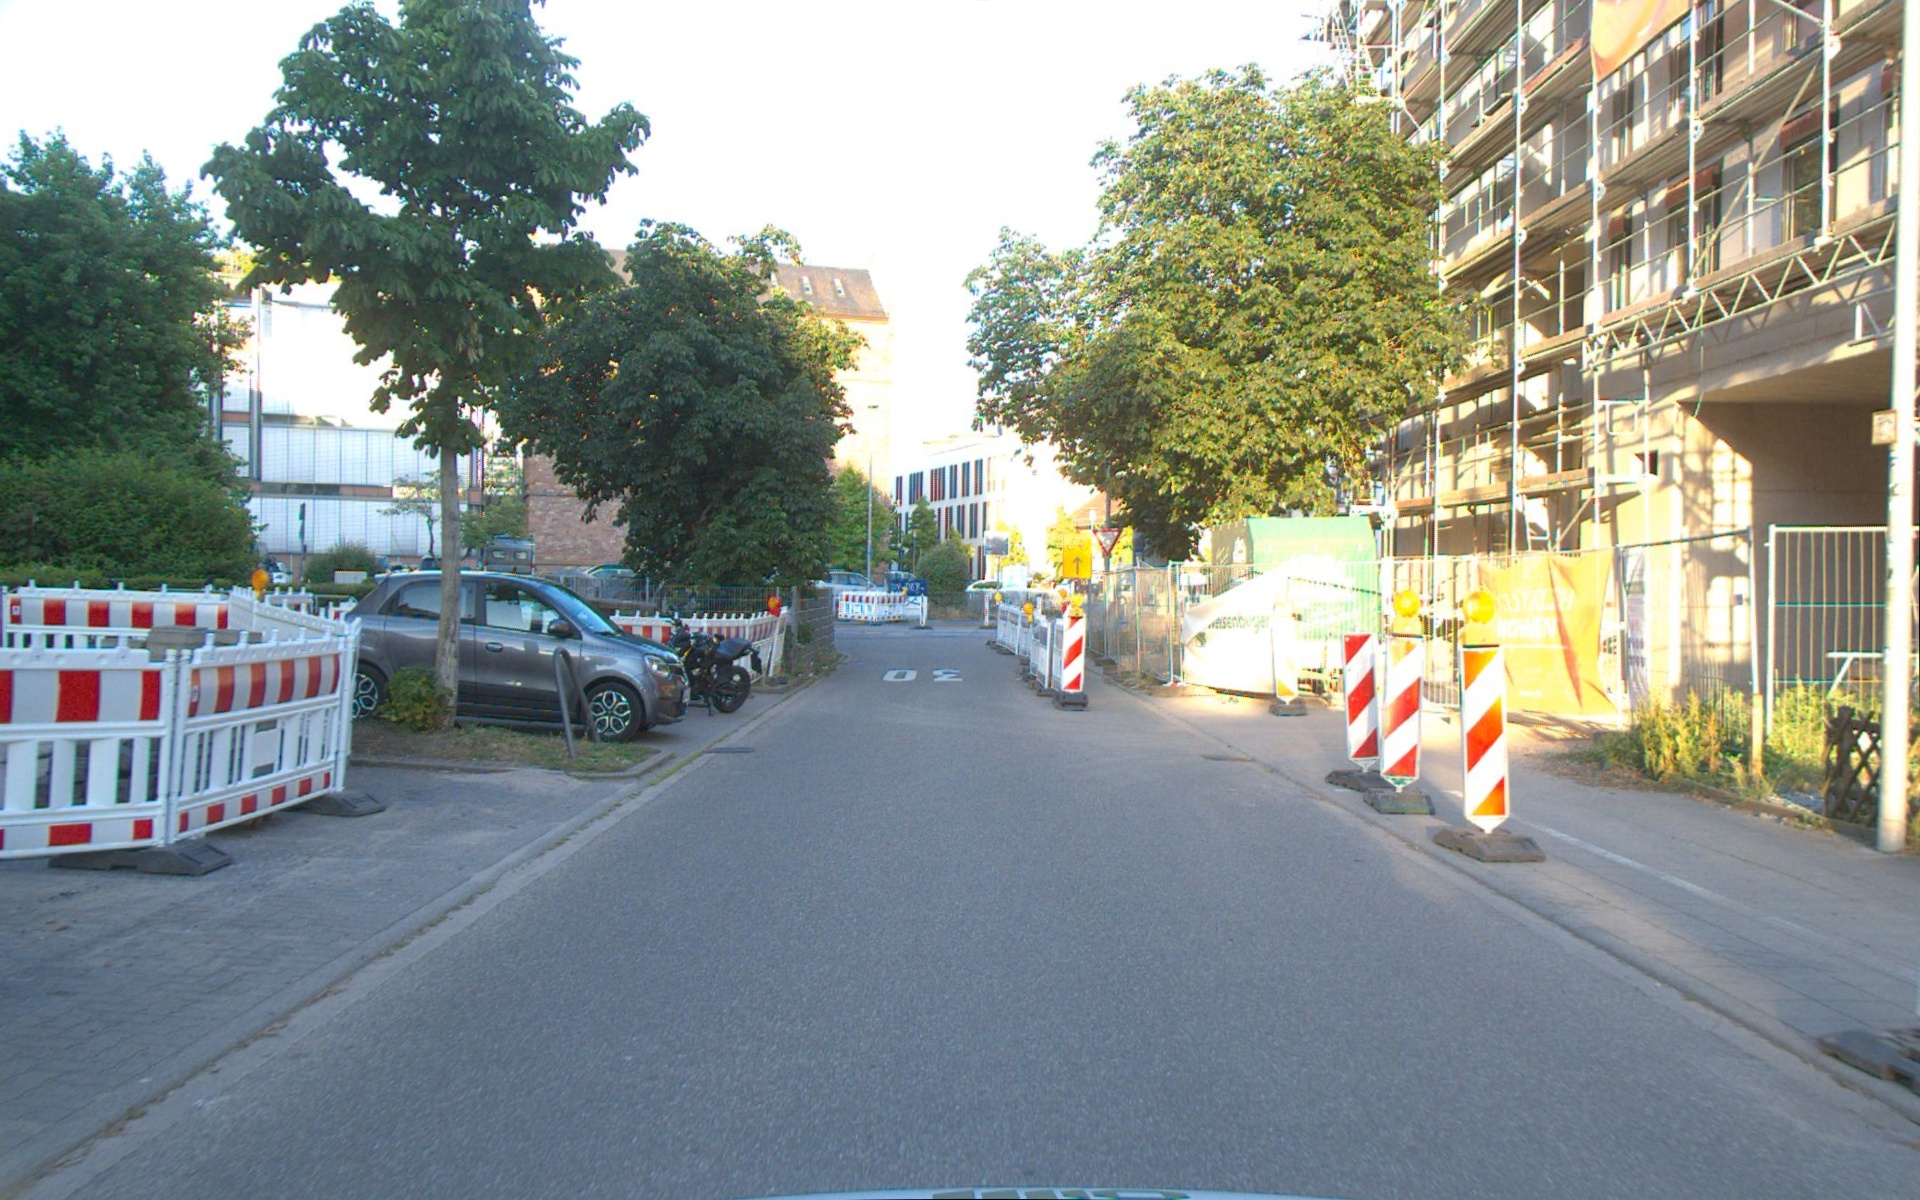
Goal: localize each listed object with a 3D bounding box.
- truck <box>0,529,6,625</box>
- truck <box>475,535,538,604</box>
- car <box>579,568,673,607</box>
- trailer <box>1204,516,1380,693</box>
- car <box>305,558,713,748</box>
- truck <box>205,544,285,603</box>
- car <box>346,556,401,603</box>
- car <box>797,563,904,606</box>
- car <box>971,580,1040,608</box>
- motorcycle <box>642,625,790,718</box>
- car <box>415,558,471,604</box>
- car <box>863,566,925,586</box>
[{"bbox_3d":[-27.178,-0.599,40.923,5.945,2.465,2.093,0,2,-24],"label":"truck"},{"bbox_3d":[-18.350,-1.237,66.754,2.297,2.662,4.949,1,1,-17],"label":"truck"},{"bbox_3d":[-13.485,-0.525,66.711,3.573,1.530,1.630,0,1,-17],"label":"car"},{"bbox_3d":[5.192,0.035,26.396,1.952,2.584,4.186,1,1,0],"label":"trailer"},{"bbox_3d":[-4.431,0.500,16.644,3.550,1.584,1.693,4,0,-1],"label":"car"},{"bbox_3d":[-27.050,-1.007,62.721,2.070,2.127,4.495,1,1,-15],"label":"truck"},{"bbox_3d":[-22.996,-0.803,64.833,1.964,1.757,4.276,1,1,-20],"label":"car"},{"bbox_3d":[-4.606,-0.639,69.331,4.205,1.738,1.693,0,1,-20],"label":"car"},{"bbox_3d":[2.686,-0.353,96.874,3.688,1.631,1.676,1,0,-22],"label":"car"},{"bbox_3d":[-2.937,0.855,20.179,0.527,1.038,2.208,4,0,28],"label":"motorcycle"},{"bbox_3d":[-20.561,-0.769,65.708,1.964,1.722,3.977,1,1,-20],"label":"car"},{"bbox_3d":[-4.619,-1.664,115.461,3.927,1.336,1.867,1,-1,-20],"label":"car"}]
